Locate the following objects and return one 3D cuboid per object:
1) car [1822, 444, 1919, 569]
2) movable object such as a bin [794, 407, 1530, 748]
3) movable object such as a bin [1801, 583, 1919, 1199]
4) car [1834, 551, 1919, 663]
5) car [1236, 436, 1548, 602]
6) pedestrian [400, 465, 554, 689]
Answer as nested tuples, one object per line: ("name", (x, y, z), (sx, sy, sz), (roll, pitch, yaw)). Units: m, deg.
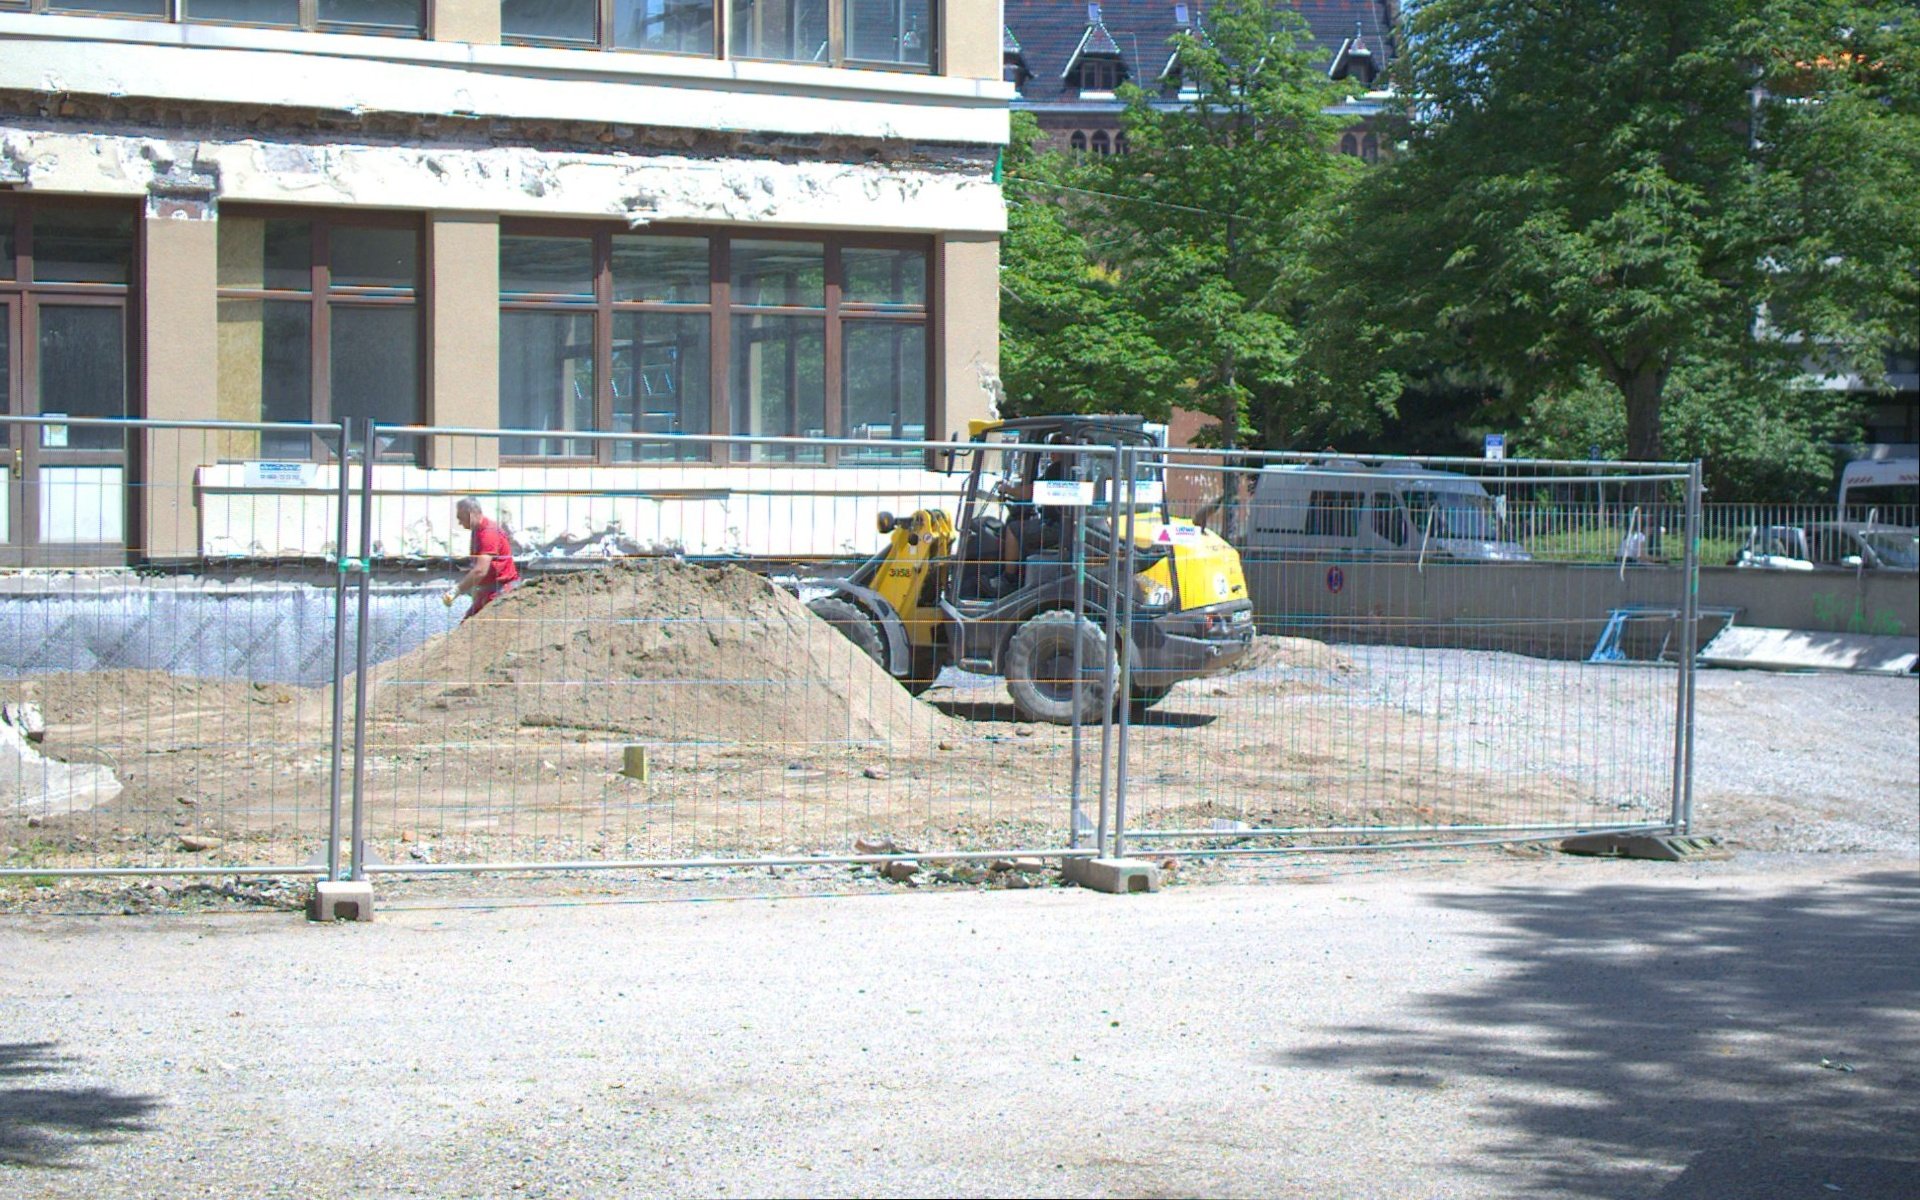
("car", (17.672, -1.750, 64.882), (2.186, 2.250, 4.864), (1, 1, 20))
("movable object such as a bin", (1.633, -0.249, 27.861), (5.410, 2.455, 2.365), (3, 2, 23))
("movable object such as a bin", (2.543, 0.701, 7.484), (1.075, 1.453, 1.377), (0, 1, 0))
("car", (12.720, 0.060, 42.338), (3.713, 1.316, 1.614), (-1, 1, -30))
("car", (6.552, -1.236, 52.770), (1.993, 2.408, 5.244), (-1, 1, -30))
("pedestrian", (-4.035, -0.200, 28.791), (0.915, 1.840, 0.985), (1, 1, 21))
